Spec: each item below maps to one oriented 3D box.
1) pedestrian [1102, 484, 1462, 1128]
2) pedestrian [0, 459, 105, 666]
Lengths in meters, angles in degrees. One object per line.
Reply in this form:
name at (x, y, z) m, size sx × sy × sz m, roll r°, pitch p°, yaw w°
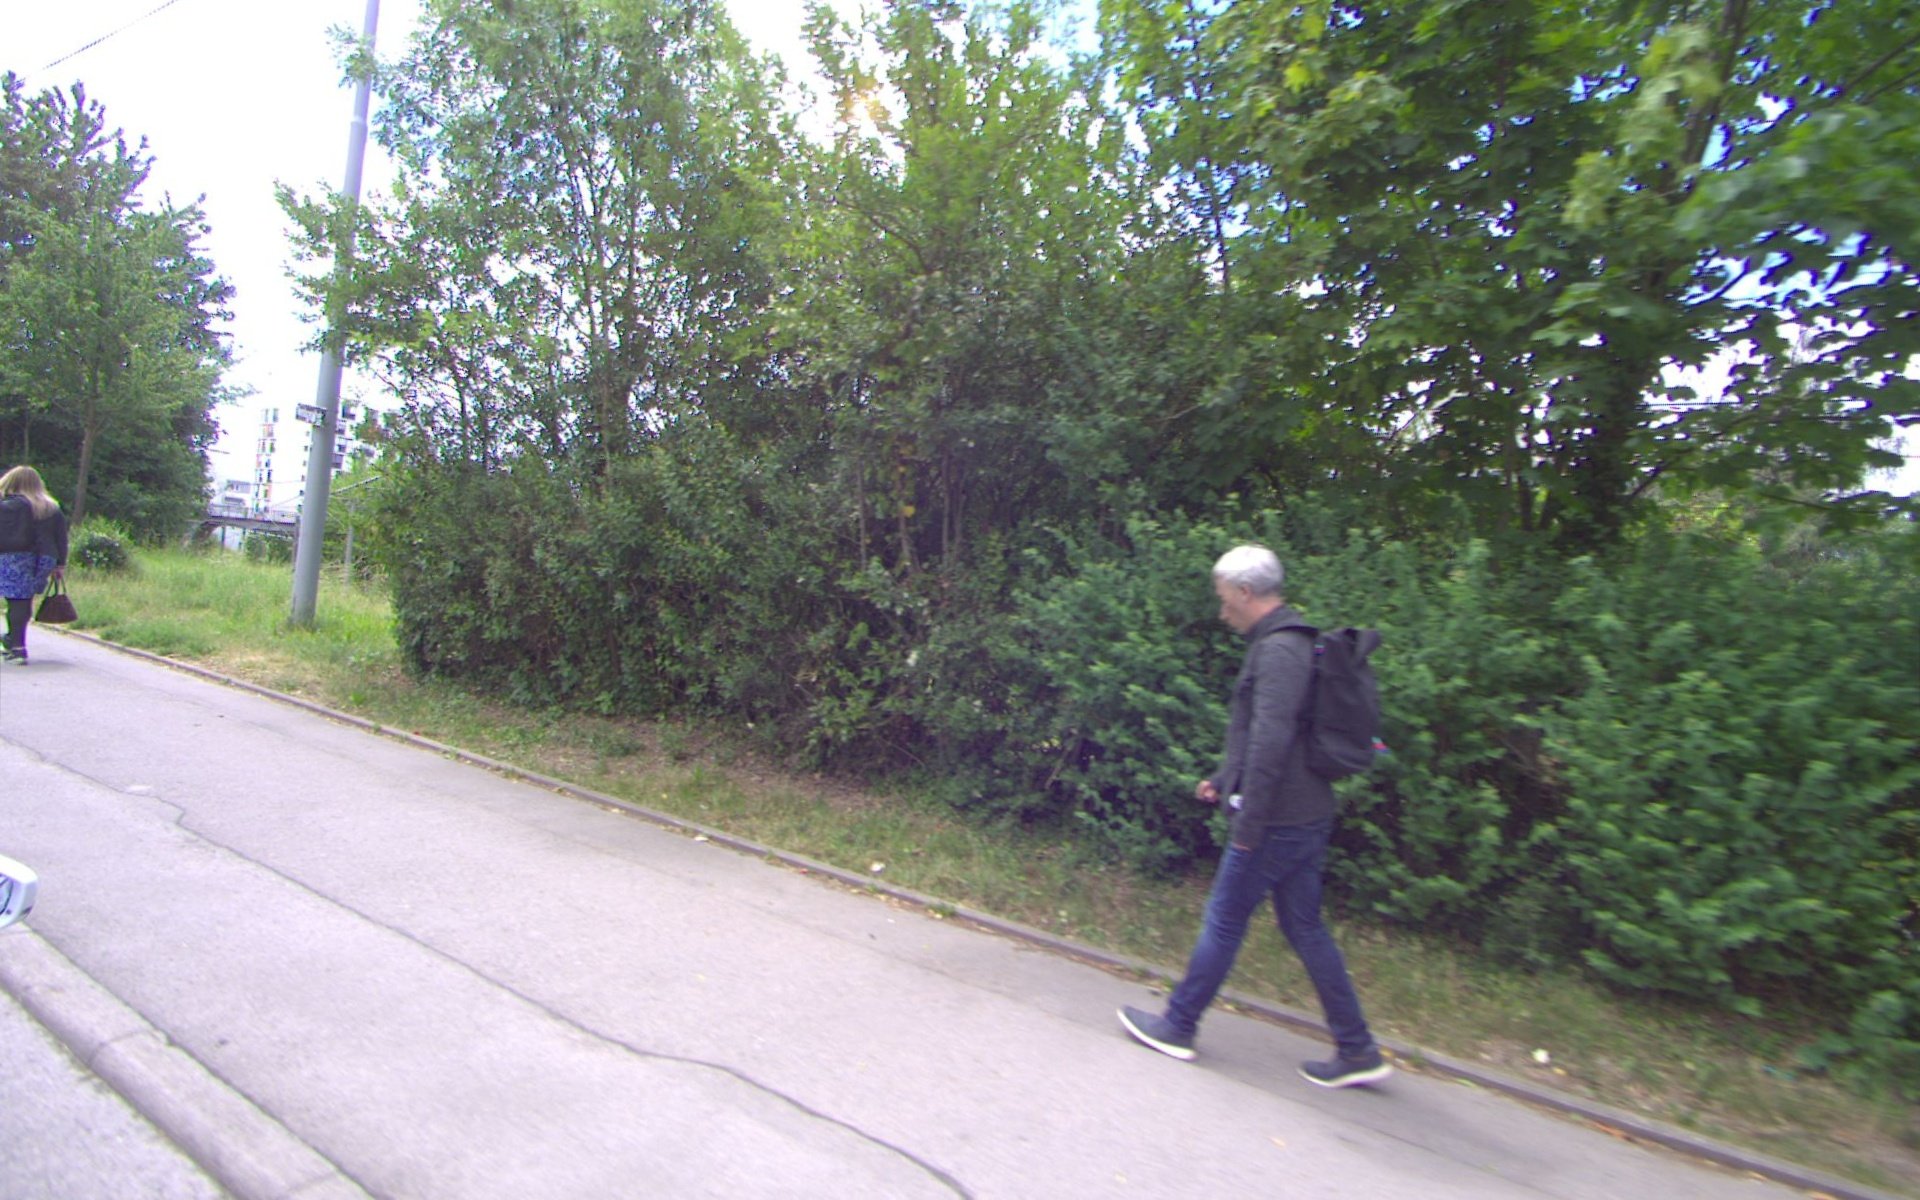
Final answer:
pedestrian at (1.135, 0.618, 3.515) m, size 0.789 × 1.905 × 0.745 m, roll 7°, pitch -1°, yaw 38°
pedestrian at (-8.139, -0.332, 8.690) m, size 0.754 × 1.679 × 0.840 m, roll 7°, pitch -1°, yaw 35°
